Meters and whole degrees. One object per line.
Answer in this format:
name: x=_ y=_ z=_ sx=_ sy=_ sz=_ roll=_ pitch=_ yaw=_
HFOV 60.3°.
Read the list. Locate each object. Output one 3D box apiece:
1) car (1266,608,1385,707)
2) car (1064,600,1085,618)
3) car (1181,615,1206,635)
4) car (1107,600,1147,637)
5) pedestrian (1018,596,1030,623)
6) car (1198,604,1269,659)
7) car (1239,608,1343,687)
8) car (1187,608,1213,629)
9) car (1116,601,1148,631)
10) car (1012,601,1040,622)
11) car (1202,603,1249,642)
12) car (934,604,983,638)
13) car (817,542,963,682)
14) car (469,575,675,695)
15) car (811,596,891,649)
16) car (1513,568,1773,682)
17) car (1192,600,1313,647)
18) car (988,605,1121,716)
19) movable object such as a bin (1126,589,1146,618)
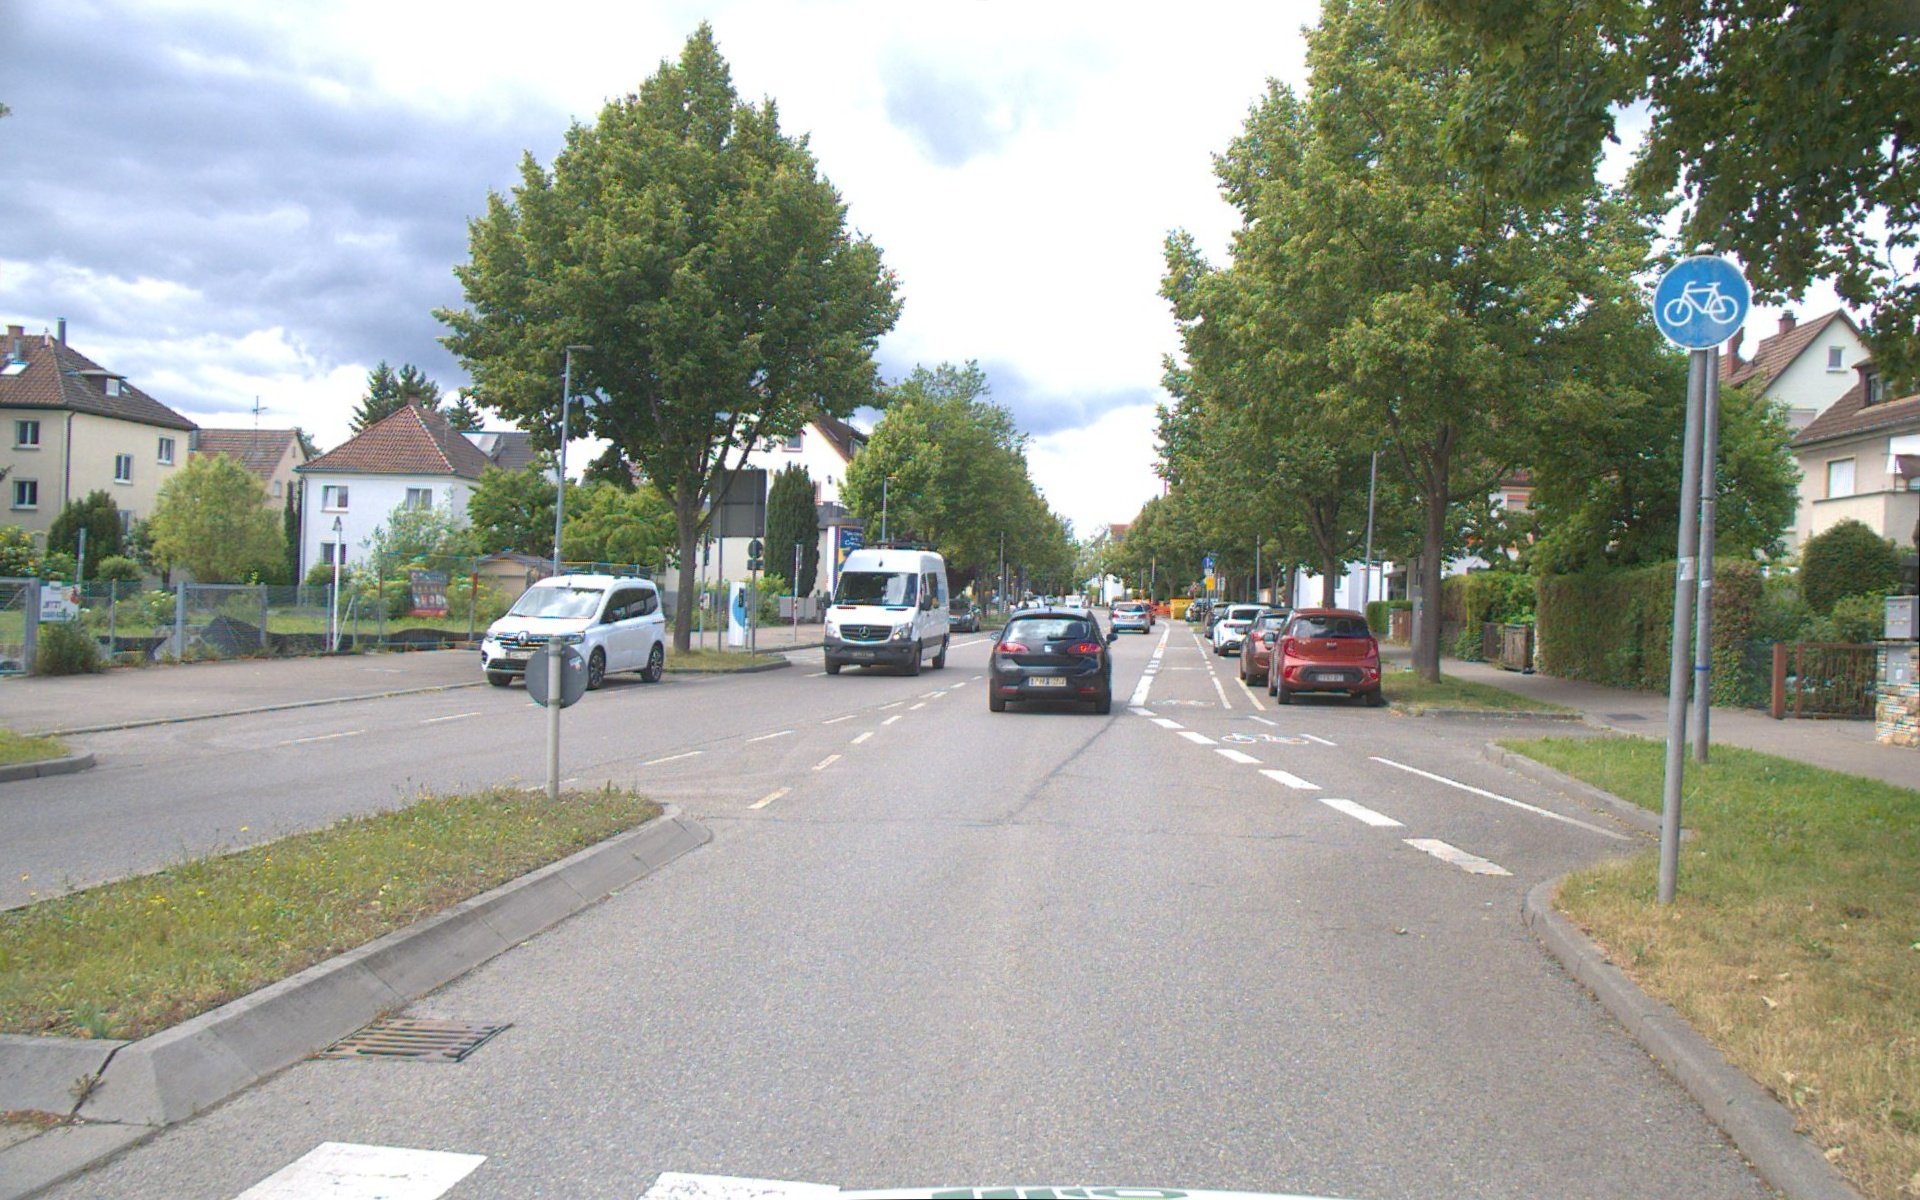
car: x=5.933 y=0.912 z=27.146 sx=1.532 sy=1.481 sz=3.671 roll=1 pitch=-1 yaw=7
car: x=11.908 y=0.919 z=172.174 sx=1.924 sy=1.862 sz=4.822 roll=1 pitch=0 yaw=7
car: x=18.292 y=1.950 z=129.514 sx=1.637 sy=1.488 sz=4.002 roll=1 pitch=0 yaw=4
car: x=8.012 y=0.856 z=79.535 sx=1.865 sy=1.715 sz=3.742 roll=0 pitch=0 yaw=5
pedestrian: x=4.065 y=0.600 z=105.605 sx=0.531 sy=1.710 sz=0.751 roll=3 pitch=1 yaw=15
car: x=8.107 y=0.909 z=49.372 sx=1.767 sy=1.500 sz=4.815 roll=1 pitch=0 yaw=6
car: x=6.490 y=0.890 z=32.781 sx=1.618 sy=1.441 sz=4.179 roll=0 pitch=0 yaw=6
car: x=17.423 y=1.315 z=120.028 sx=1.669 sy=1.480 sz=4.619 roll=1 pitch=0 yaw=6
car: x=11.304 y=1.056 z=108.930 sx=1.867 sy=1.914 sz=4.002 roll=1 pitch=0 yaw=4
car: x=4.560 y=0.783 z=113.679 sx=1.608 sy=1.445 sz=4.023 roll=0 pitch=0 yaw=6
car: x=11.363 y=0.934 z=71.080 sx=1.685 sy=1.608 sz=4.063 roll=1 pitch=0 yaw=5
car: x=-0.038 y=0.942 z=76.120 sx=1.694 sy=1.494 sz=4.305 roll=0 pitch=0 yaw=8
car: x=-1.396 y=0.240 z=35.810 sx=1.976 sy=2.721 sz=5.810 roll=1 pitch=0 yaw=9
car: x=-6.386 y=0.543 z=27.760 sx=1.732 sy=1.801 sz=4.555 roll=1 pitch=0 yaw=9
car: x=-3.444 y=0.698 z=52.790 sx=1.649 sy=1.568 sz=4.135 roll=1 pitch=0 yaw=9
car: x=16.942 y=0.586 z=41.231 sx=5.594 sy=2.637 sz=1.999 roll=1 pitch=1 yaw=3
car: x=10.531 y=0.823 z=59.719 sx=4.129 sy=1.666 sz=1.694 roll=0 pitch=0 yaw=2
car: x=1.435 y=0.822 z=24.181 sx=1.780 sy=1.463 sz=3.742 roll=1 pitch=0 yaw=5
movable object such as a bin: x=16.188 y=0.301 z=152.491 sx=1.731 sy=2.619 sz=3.742 roll=1 pitch=0 yaw=5
